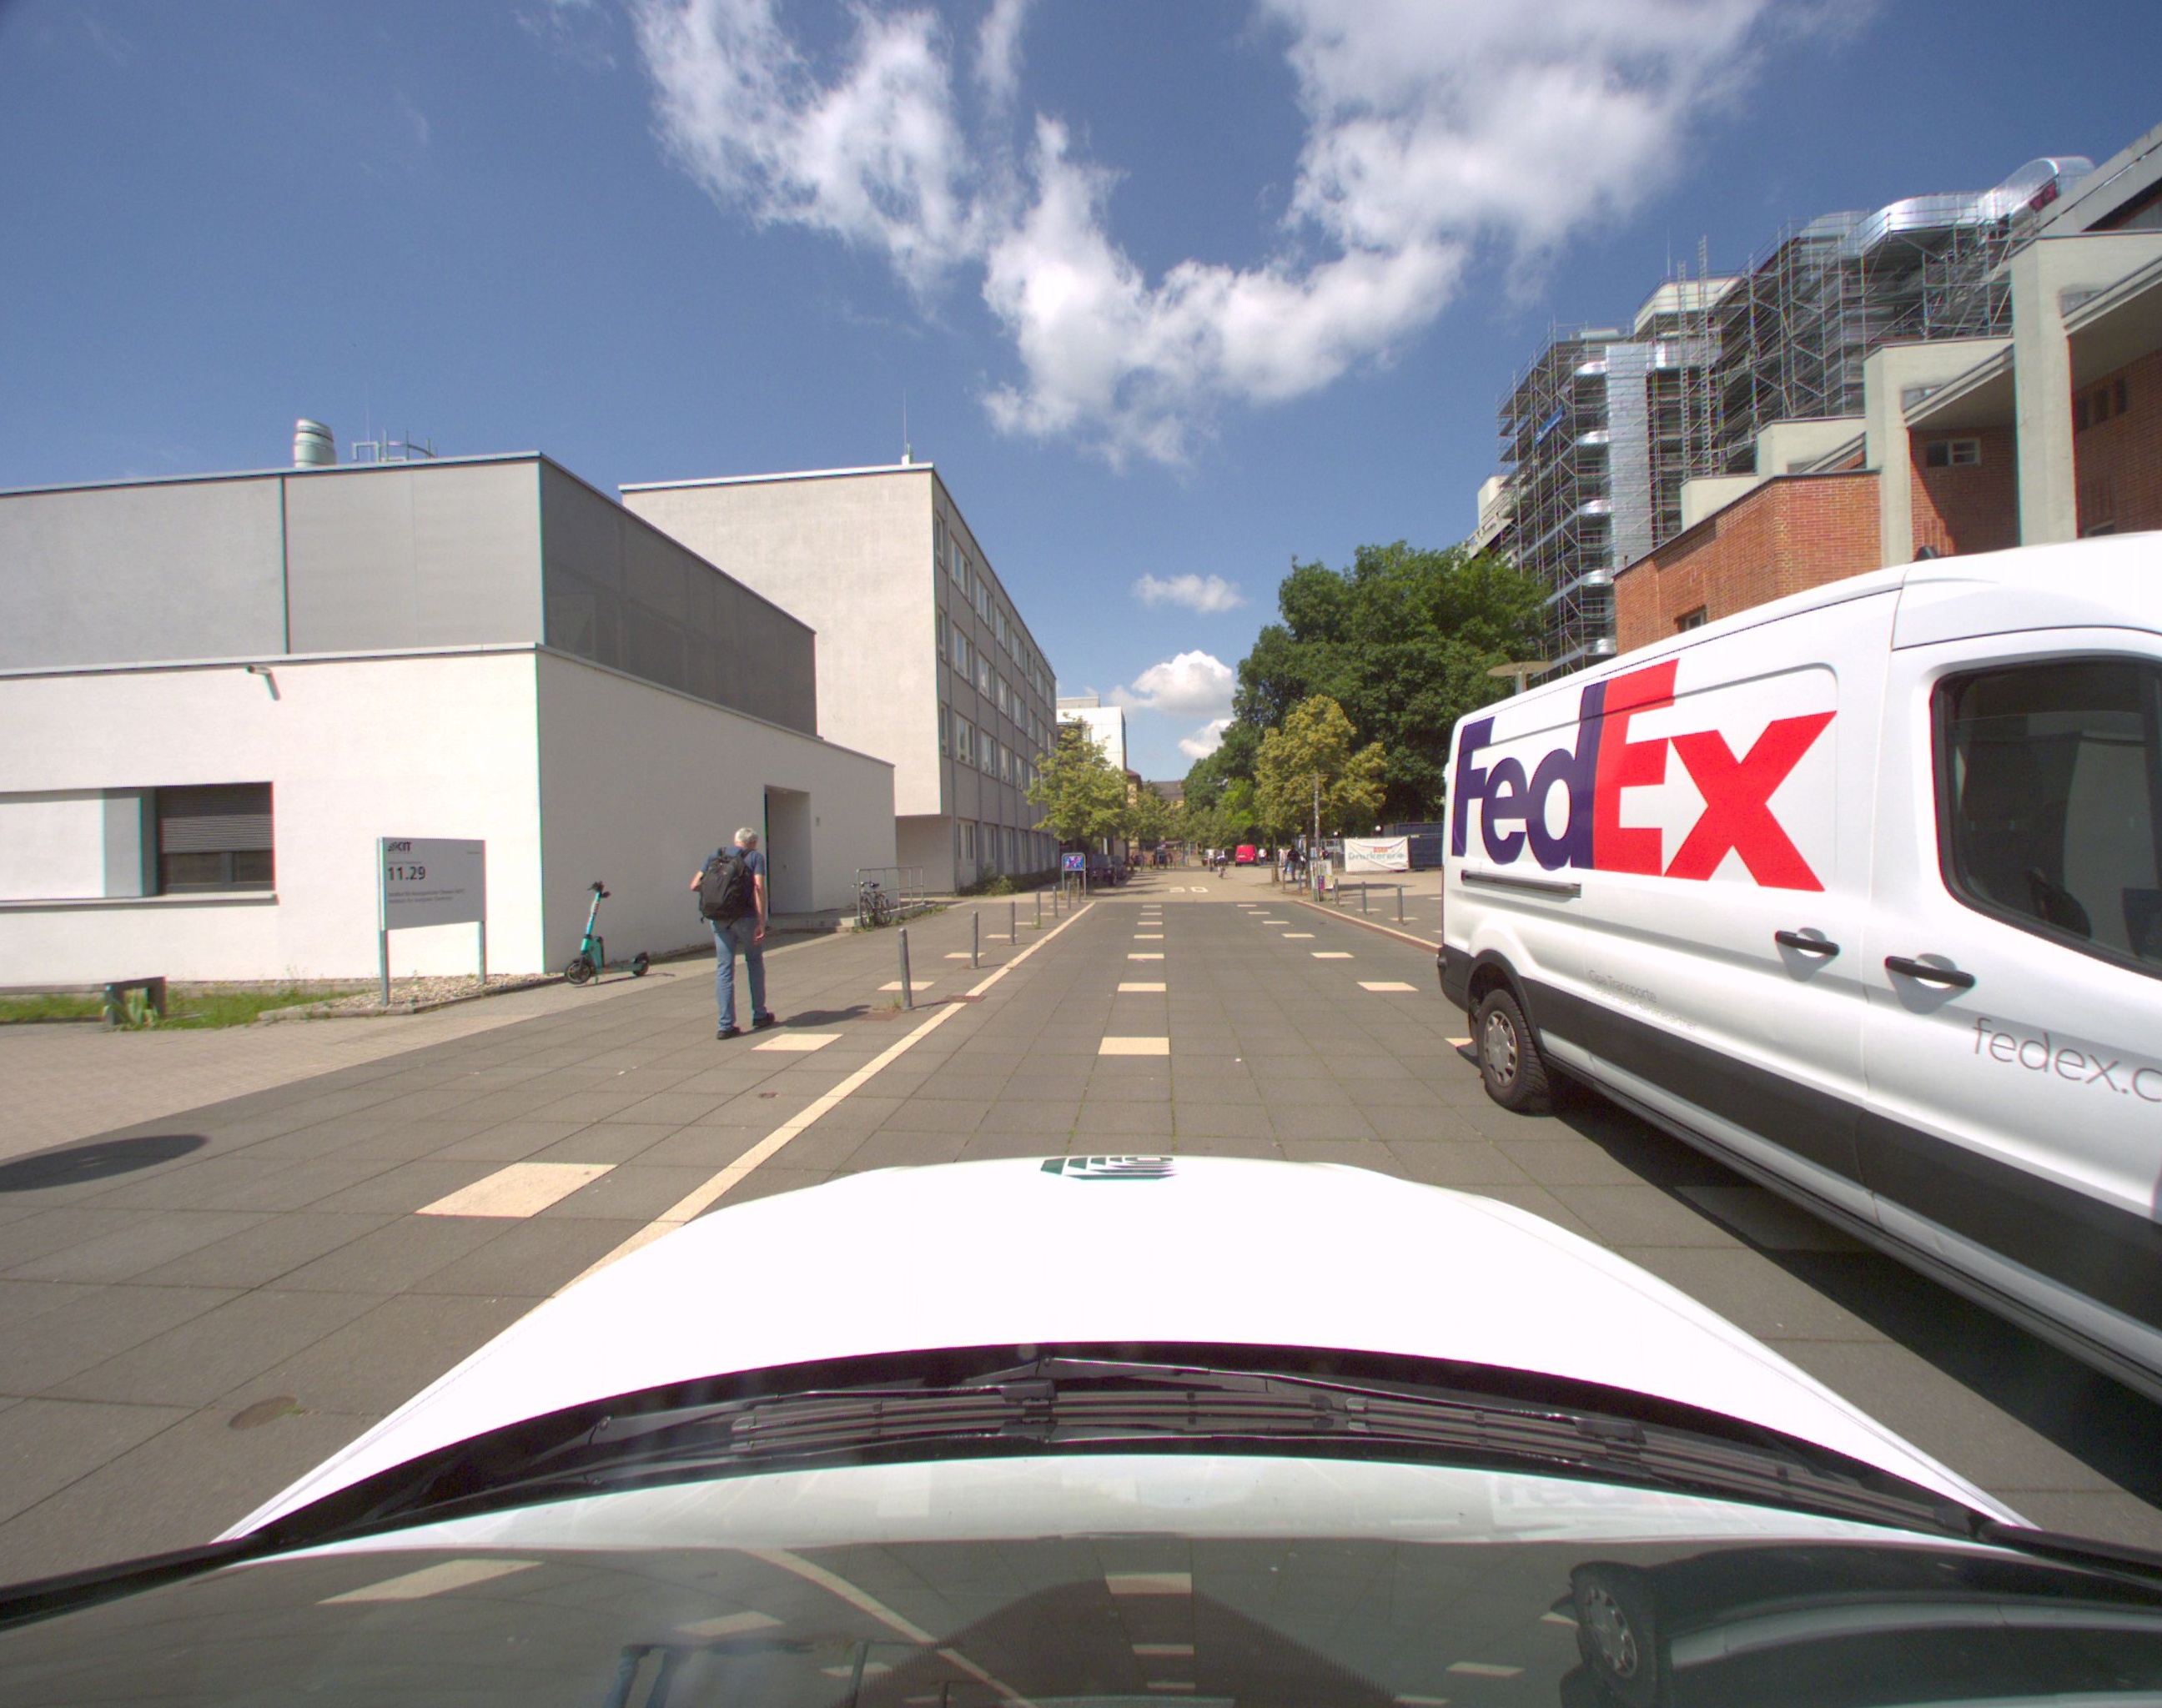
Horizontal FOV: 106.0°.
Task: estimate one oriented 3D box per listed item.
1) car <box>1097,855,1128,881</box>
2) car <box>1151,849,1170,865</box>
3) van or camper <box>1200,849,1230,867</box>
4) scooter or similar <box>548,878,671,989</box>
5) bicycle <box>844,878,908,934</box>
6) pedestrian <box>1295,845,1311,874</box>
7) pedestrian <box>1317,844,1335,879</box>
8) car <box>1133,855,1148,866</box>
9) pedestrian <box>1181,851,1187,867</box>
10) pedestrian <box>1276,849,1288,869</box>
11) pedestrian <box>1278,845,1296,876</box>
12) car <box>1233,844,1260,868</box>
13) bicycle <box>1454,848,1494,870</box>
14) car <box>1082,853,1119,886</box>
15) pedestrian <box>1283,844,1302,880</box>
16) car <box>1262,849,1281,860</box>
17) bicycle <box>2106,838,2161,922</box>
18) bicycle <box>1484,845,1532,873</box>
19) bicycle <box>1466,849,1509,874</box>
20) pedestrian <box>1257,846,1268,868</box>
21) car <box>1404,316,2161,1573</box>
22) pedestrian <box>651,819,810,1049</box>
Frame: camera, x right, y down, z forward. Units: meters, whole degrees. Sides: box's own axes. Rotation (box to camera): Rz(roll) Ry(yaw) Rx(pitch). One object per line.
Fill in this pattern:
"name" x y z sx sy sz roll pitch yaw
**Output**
"car" 1.959 0.834 49.787 1.770 1.461 4.263 -1 0 4
"car" 10.222 0.404 105.052 2.165 1.926 5.191 -2 0 3
"van or camper" 15.907 0.444 96.477 1.935 1.923 5.452 -1 0 25
"scooter or similar" -5.910 0.962 10.281 0.478 1.263 1.319 -2 0 18
"bicycle" -4.361 1.089 17.463 0.540 1.061 1.904 -2 0 10
"pedestrian" 12.884 0.325 47.299 0.665 1.600 0.987 -3 -1 7
"pedestrian" 12.192 0.364 40.531 0.646 1.666 0.906 -3 -1 7
"car" 7.684 0.818 105.440 1.809 1.324 3.772 -2 0 4
"pedestrian" 11.873 0.550 94.097 0.580 1.764 0.914 -2 0 10
"pedestrian" 18.894 0.491 76.581 0.726 1.821 0.624 -2 -1 -31
"pedestrian" 12.091 0.378 47.796 0.846 1.764 0.717 -3 -1 5
"car" 14.208 0.163 69.824 1.834 1.891 4.910 -3 0 15
"bicycle" 19.206 0.258 39.791 1.663 1.003 0.448 -2 0 5
"car" 1.044 0.746 41.694 1.689 1.564 4.072 -2 0 4
"pedestrian" 10.339 0.384 39.787 0.639 1.697 0.792 -2 0 0
"car" 28.207 0.094 120.345 1.743 1.522 4.136 -2 0 26
"bicycle" 15.218 0.320 11.130 1.739 1.110 0.436 -2 0 3
"bicycle" 18.565 0.221 35.410 1.797 1.109 0.448 -2 0 5
"bicycle" 18.690 0.339 37.468 1.693 1.109 0.448 -2 0 5
"pedestrian" 14.751 0.224 66.098 0.689 1.781 0.790 -3 -1 17
"car" 3.292 0.168 3.067 2.050 2.543 5.855 -2 0 3
"pedestrian" -3.011 0.641 7.126 0.820 1.817 1.144 -2 0 0
